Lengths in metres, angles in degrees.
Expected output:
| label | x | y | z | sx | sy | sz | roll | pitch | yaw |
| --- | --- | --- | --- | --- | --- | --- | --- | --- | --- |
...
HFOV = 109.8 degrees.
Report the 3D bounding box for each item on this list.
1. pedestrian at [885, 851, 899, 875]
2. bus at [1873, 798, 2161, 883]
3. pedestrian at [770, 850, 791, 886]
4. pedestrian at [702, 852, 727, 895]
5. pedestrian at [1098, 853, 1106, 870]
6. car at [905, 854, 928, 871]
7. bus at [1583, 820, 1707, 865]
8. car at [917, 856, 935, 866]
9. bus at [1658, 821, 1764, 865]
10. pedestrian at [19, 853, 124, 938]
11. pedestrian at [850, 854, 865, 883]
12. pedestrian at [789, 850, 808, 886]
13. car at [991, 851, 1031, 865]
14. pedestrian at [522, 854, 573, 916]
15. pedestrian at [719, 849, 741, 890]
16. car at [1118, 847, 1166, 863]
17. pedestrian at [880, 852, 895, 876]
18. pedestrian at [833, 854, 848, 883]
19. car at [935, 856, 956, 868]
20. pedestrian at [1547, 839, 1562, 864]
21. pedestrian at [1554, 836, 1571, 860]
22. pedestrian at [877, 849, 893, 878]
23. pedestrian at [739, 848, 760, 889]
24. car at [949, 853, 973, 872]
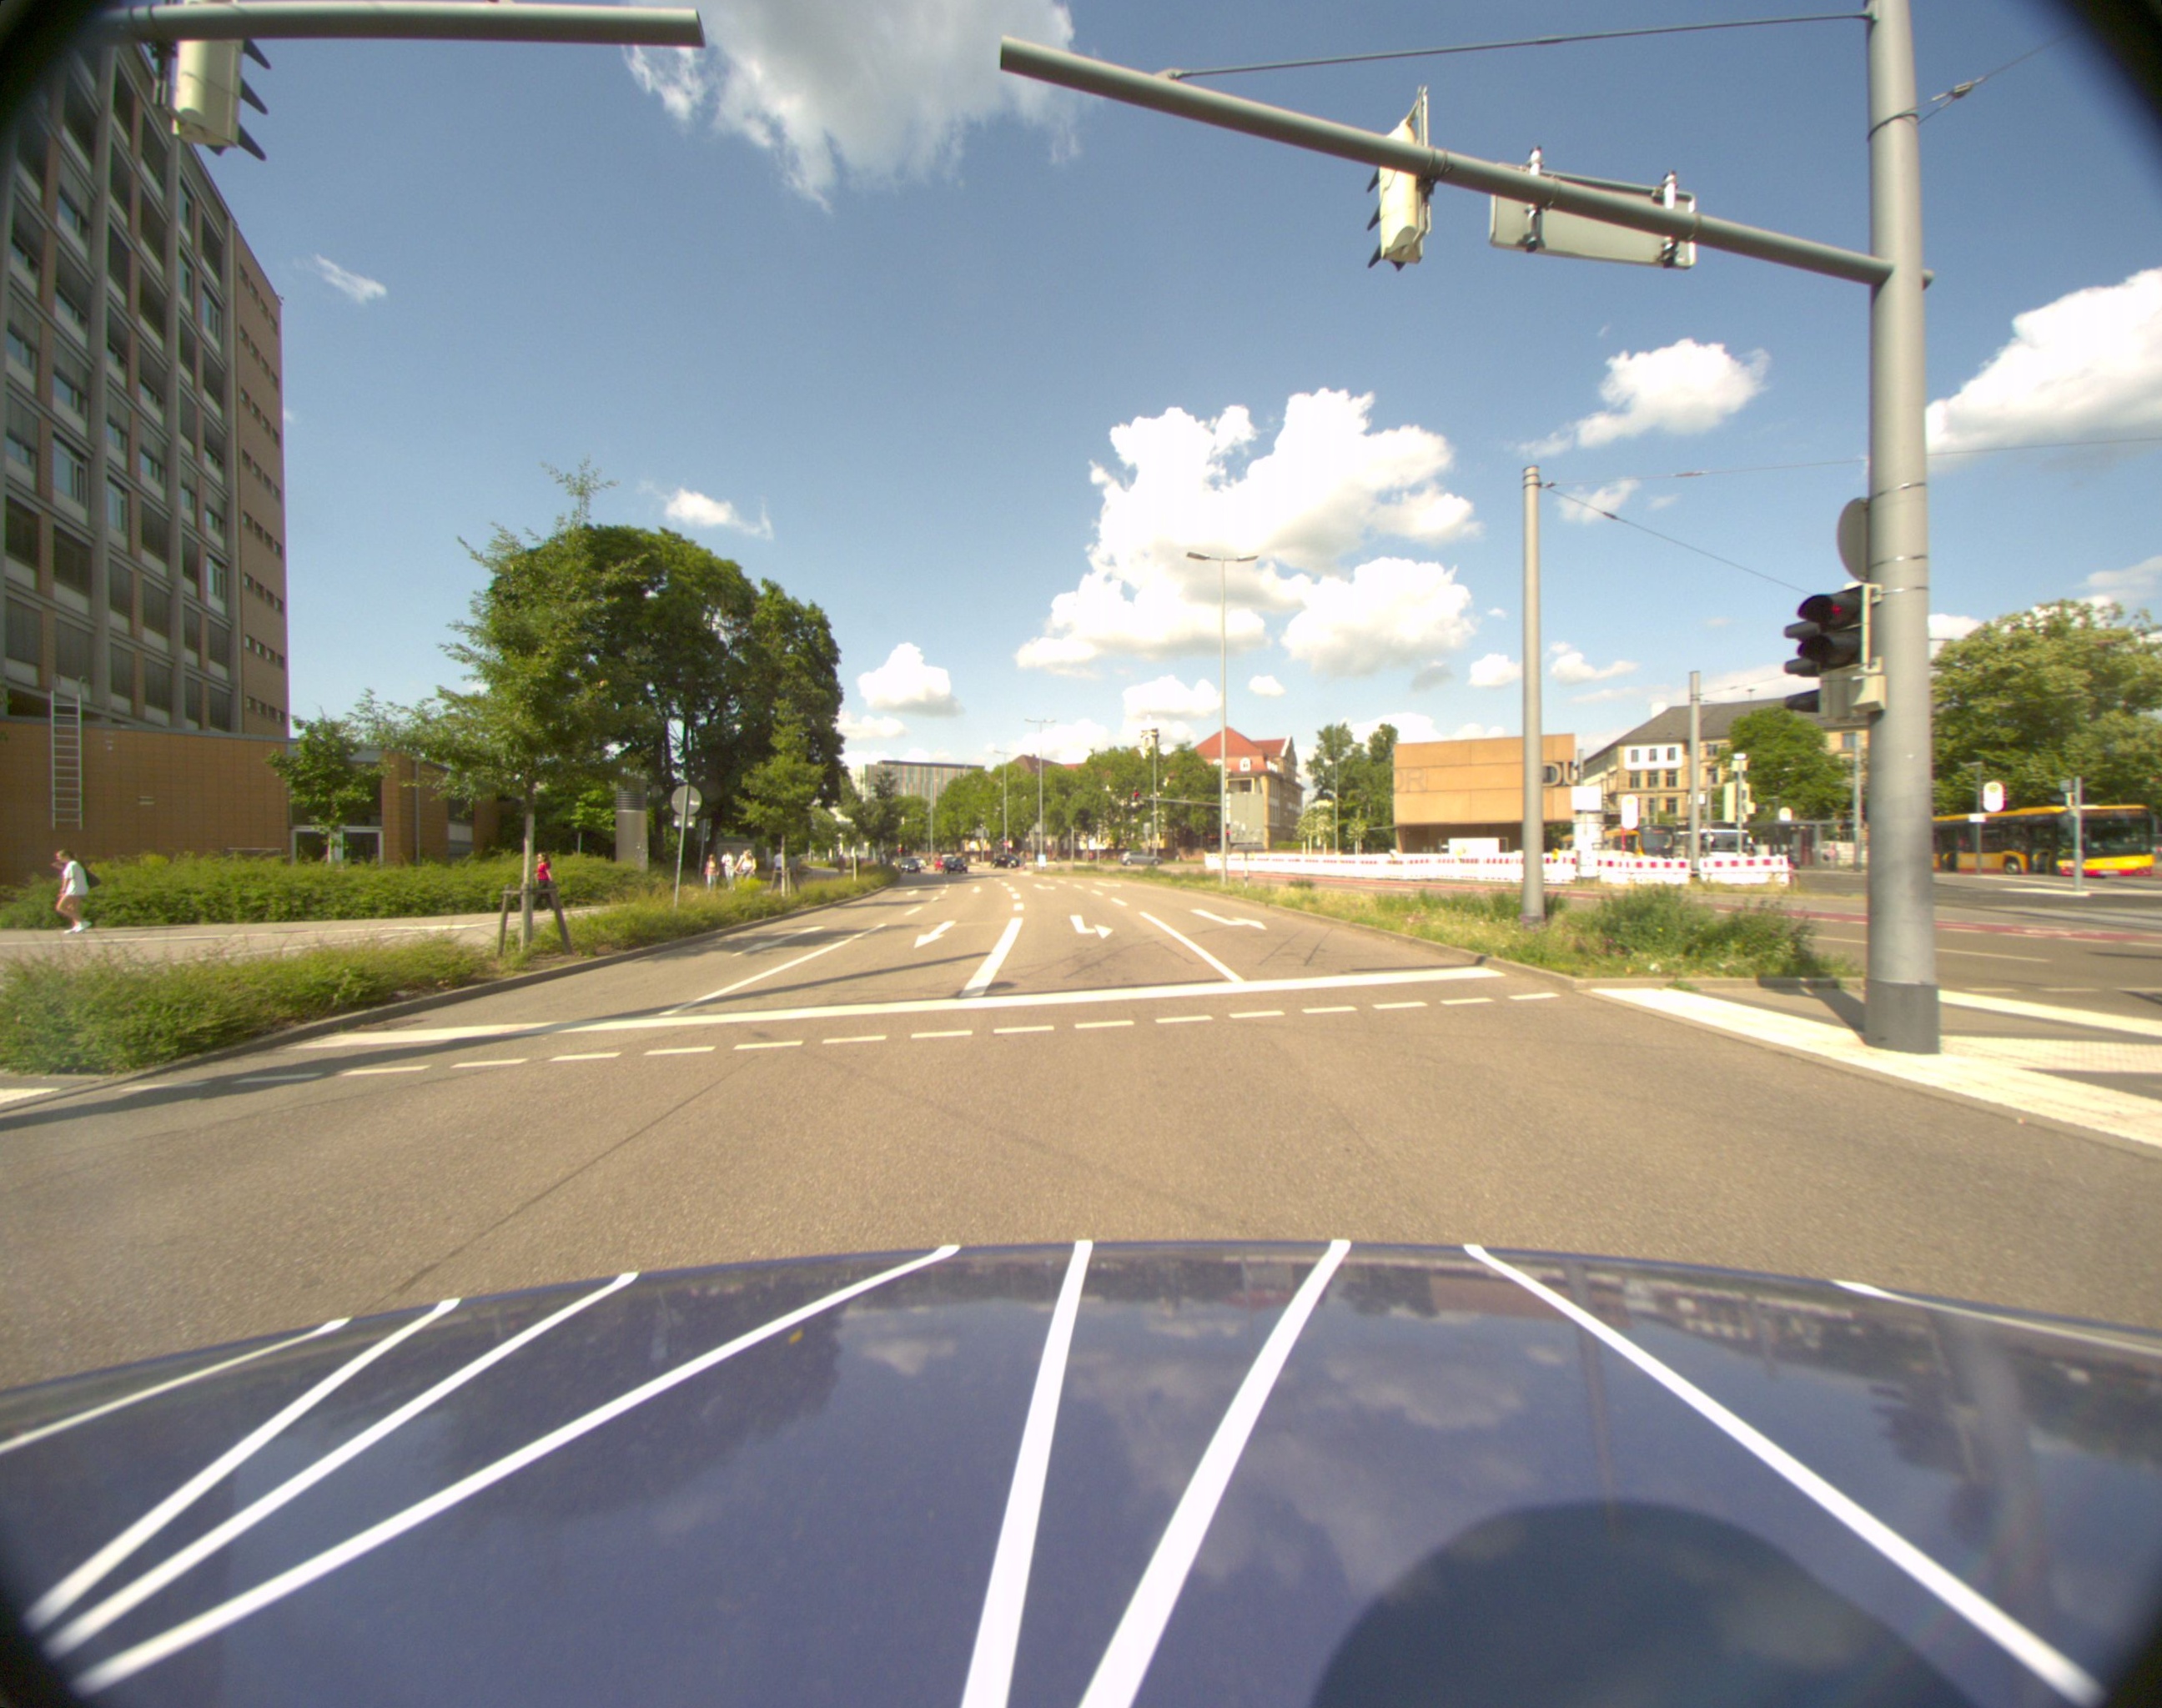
| label | x | y | z | sx | sy | sz | roll | pitch | yaw |
| --- | --- | --- | --- | --- | --- | --- | --- | --- | --- |
| pedestrian | -14.179 | 0.690 | 56.994 | 0.928 | 1.725 | 0.767 | -2 | 2 | -9 |
| bus | 41.000 | -0.520 | 34.209 | 2.827 | 3.118 | 12.862 | 0 | 0 | 24 |
| pedestrian | -14.680 | 0.664 | 37.112 | 0.745 | 1.736 | 0.888 | 2 | 1 | -12 |
| pedestrian | -14.021 | 0.729 | 29.067 | 0.616 | 1.613 | 0.888 | 2 | 1 | -12 |
| pedestrian | 2.563 | 0.939 | 93.249 | 0.583 | 1.982 | 0.621 | -3 | 2 | -34 |
| car | -15.064 | 0.787 | 69.701 | 1.827 | 1.454 | 3.997 | -1 | 0 | -8 |
| bus | 47.804 | -0.896 | 65.676 | 3.468 | 3.165 | 23.817 | 0 | 0 | 24 |
| car | -18.051 | 0.821 | 88.480 | 1.911 | 1.127 | 4.097 | -1 | 0 | -14 |
| bus | 58.967 | -0.902 | 71.907 | 3.599 | 3.610 | 18.906 | 0 | 0 | 27 |
| pedestrian | -19.892 | 0.804 | 15.002 | 1.099 | 1.613 | 0.614 | 1 | 1 | -34 |
| pedestrian | -13.963 | 0.892 | 47.495 | 0.769 | 1.725 | 0.718 | -3 | 2 | -15 |
| pedestrian | -13.852 | 0.687 | 37.282 | 0.745 | 1.744 | 0.888 | 2 | 1 | -12 |
| car | -7.137 | 0.447 | 77.532 | 3.779 | 1.327 | 1.737 | -1 | 1 | 32 |
| pedestrian | -14.402 | 0.825 | 20.526 | 0.614 | 1.613 | 0.891 | 2 | 1 | 18 |
| pedestrian | -14.952 | 0.664 | 32.366 | 0.616 | 1.690 | 0.888 | 2 | 1 | -12 |
| car | 5.998 | 0.065 | 75.053 | 4.270 | 1.368 | 1.998 | -2 | 1 | -9 |
| pedestrian | -14.299 | 0.731 | 56.190 | 0.928 | 1.725 | 0.767 | -2 | 2 | -9 |
| pedestrian | -14.740 | 0.874 | 46.662 | 0.769 | 1.725 | 0.718 | -3 | 2 | -15 |
| car | -13.665 | 0.786 | 76.580 | 1.599 | 1.127 | 3.623 | -3 | 1 | -18 |
| pedestrian | 30.768 | -0.173 | 49.384 | 0.731 | 1.620 | 0.561 | 0 | 1 | 24 |
| pedestrian | 33.392 | -0.412 | 52.662 | 0.653 | 1.622 | 0.765 | -1 | 1 | -18 |
| pedestrian | -13.822 | 0.650 | 53.646 | 0.965 | 2.002 | 0.767 | -2 | 2 | -9 |
| pedestrian | -14.196 | 0.613 | 32.573 | 0.616 | 1.690 | 0.888 | 2 | 1 | -12 |
| car | -10.307 | 0.703 | 65.121 | 1.827 | 1.454 | 3.996 | -1 | 0 | -11 |
